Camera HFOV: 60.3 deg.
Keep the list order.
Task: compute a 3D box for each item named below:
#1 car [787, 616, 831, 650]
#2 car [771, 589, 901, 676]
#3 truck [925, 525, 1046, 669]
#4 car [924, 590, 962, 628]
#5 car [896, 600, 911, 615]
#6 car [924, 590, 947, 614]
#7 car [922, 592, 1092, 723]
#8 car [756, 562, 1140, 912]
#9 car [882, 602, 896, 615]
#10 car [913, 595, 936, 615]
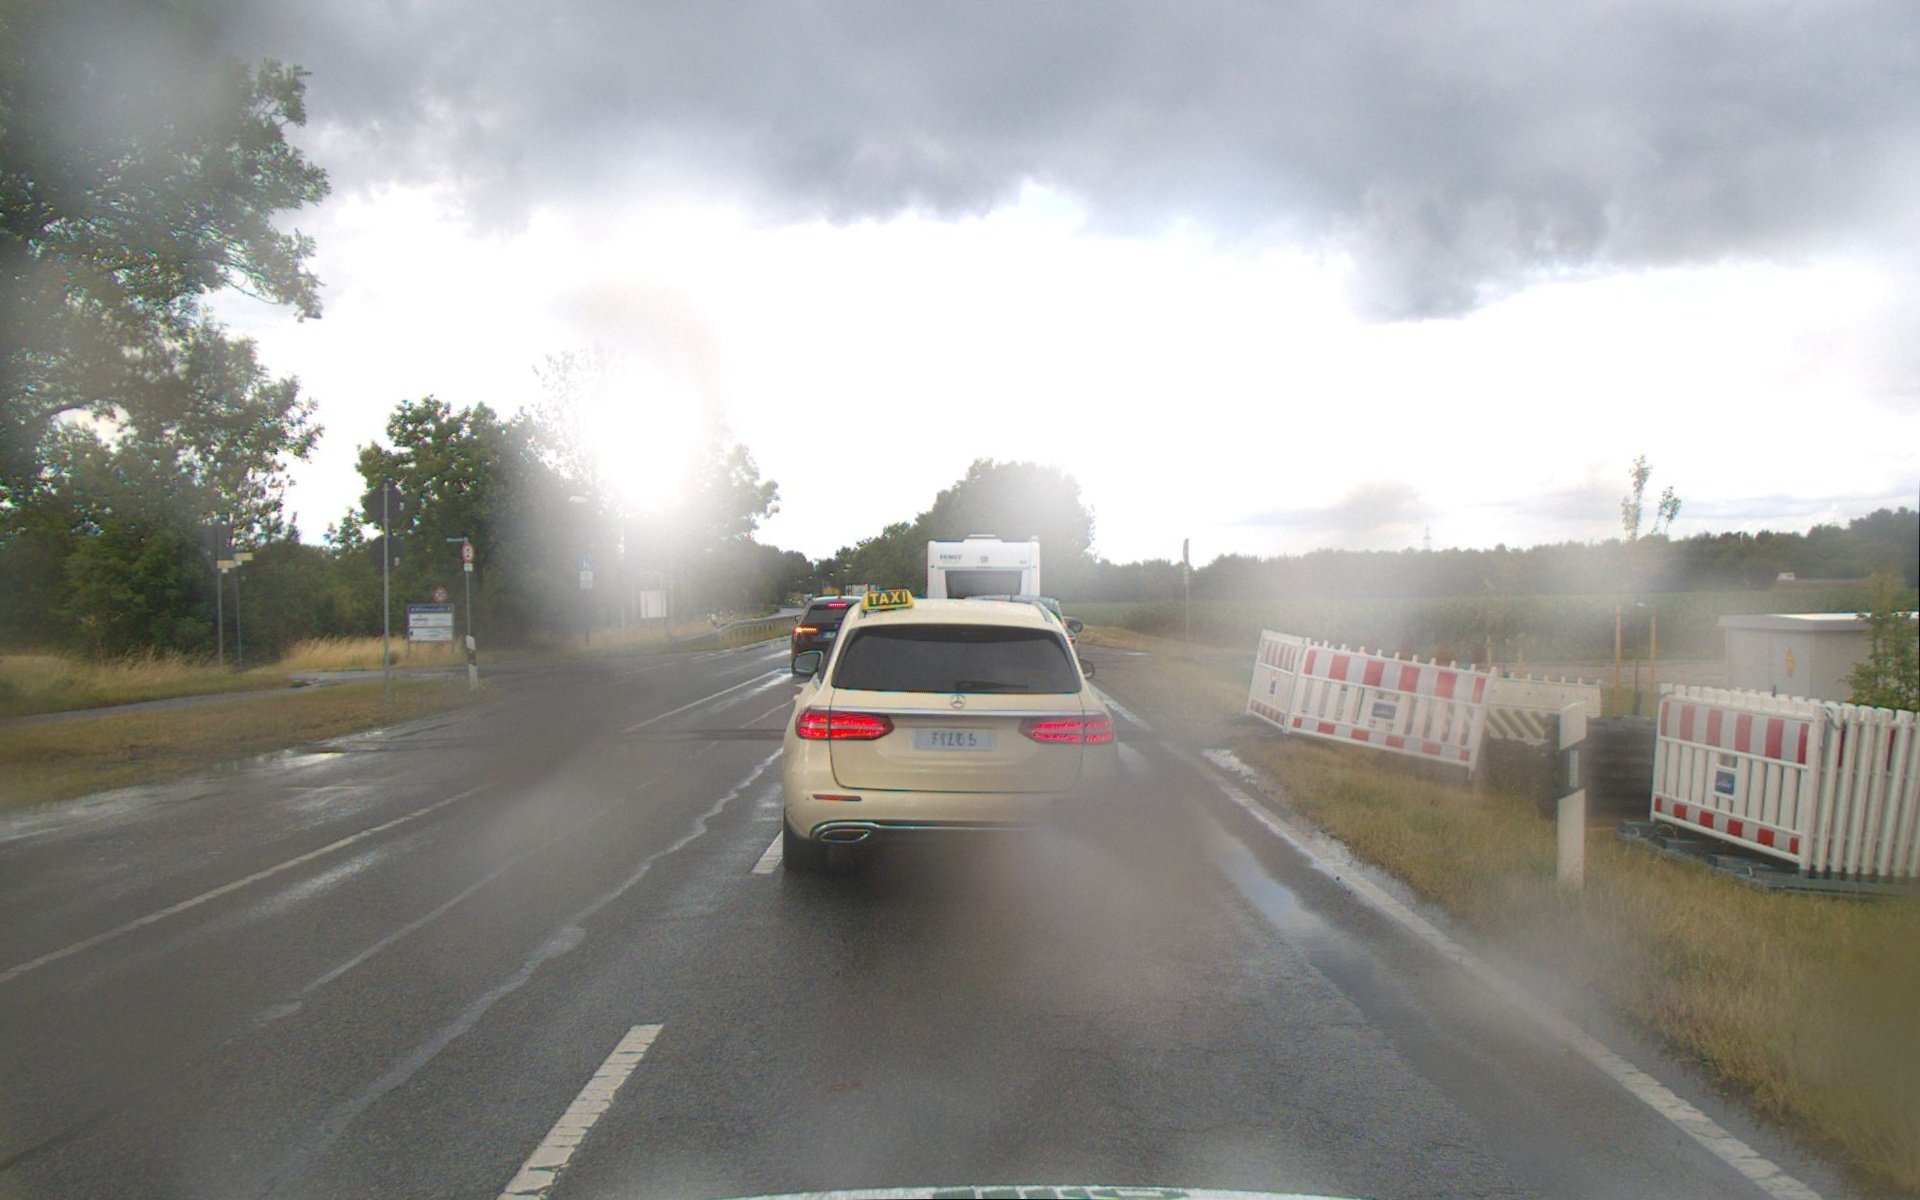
[{"bbox_3d":[-7.026,1.509,77.189,1.685,1.429,4.042,-3,0,-1],"label":"car"},{"bbox_3d":[-2.391,0.616,33.063,2.255,1.574,4.631,1,0,-1],"label":"car"},{"bbox_3d":[0.457,-0.070,35.994,2.315,2.776,7.313,-1,0,-1],"label":"truck"},{"bbox_3d":[-0.878,0.449,85.020,1.876,1.873,3.795,-1,0,0],"label":"car"},{"bbox_3d":[-7.174,0.942,209.620,1.858,1.928,3.840,-1,0,-4],"label":"car"},{"bbox_3d":[-1.917,0.166,129.627,1.755,1.808,3.720,-1,0,-1],"label":"car"},{"bbox_3d":[0.529,0.678,21.176,1.953,1.488,3.999,1,0,-1],"label":"car"},{"bbox_3d":[-0.073,0.650,9.826,1.805,1.646,3.999,0,0,-1],"label":"car"},{"bbox_3d":[-10.842,1.291,252.385,1.856,1.872,3.881,-1,0,-1],"label":"car"},{"bbox_3d":[-3.336,0.452,155.159,1.954,1.803,3.996,-1,0,-4],"label":"car"}]
